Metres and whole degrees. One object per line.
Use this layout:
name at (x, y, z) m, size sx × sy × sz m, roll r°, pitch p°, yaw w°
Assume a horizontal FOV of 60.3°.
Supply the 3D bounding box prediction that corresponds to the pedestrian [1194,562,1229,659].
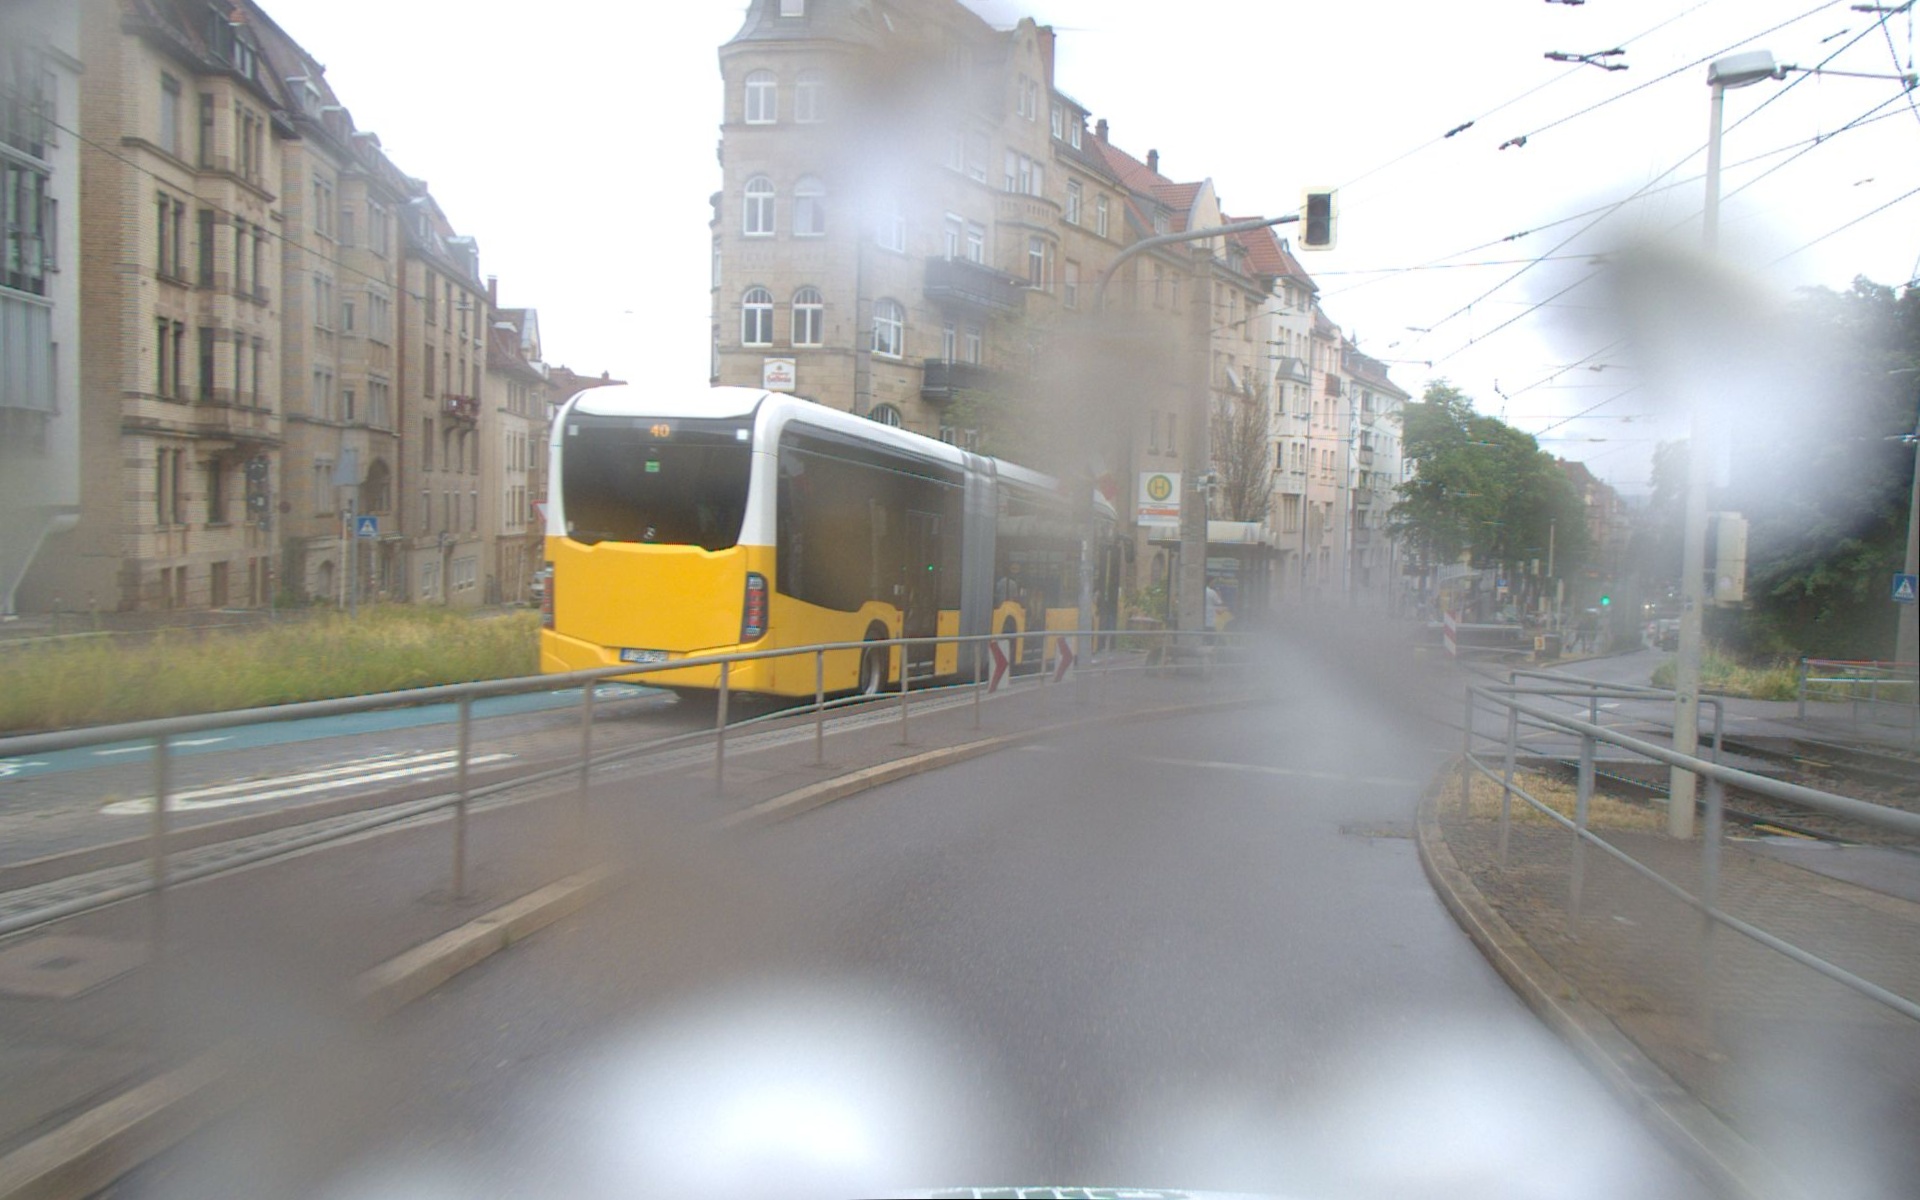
pedestrian at (4.721, 0.192, 31.043) m, size 0.564 × 1.783 × 0.544 m, roll 1°, pitch -1°, yaw 14°

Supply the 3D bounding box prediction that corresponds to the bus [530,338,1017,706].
bus at (-1.732, -0.734, 20.592) m, size 2.536 × 3.530 × 9.112 m, roll 1°, pitch 0°, yaw 17°

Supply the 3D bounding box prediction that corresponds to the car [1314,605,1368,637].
car at (22.347, 1.237, 96.830) m, size 1.955 × 1.762 × 4.807 m, roll 1°, pitch -1°, yaw 27°

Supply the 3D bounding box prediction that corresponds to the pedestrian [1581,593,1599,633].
pedestrian at (28.435, 0.585, 74.630) m, size 0.638 × 1.815 × 0.847 m, roll 2°, pitch 0°, yaw 25°

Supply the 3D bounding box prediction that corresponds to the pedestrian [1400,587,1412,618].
pedestrian at (23.704, 0.124, 87.853) m, size 0.506 × 1.633 × 0.562 m, roll 0°, pitch -1°, yaw 25°

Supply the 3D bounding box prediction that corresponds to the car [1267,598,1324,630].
car at (18.048, 0.737, 88.836) m, size 1.885 × 1.651 × 4.530 m, roll 1°, pitch 0°, yaw 26°

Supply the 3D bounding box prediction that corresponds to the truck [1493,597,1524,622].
truck at (56.112, 1.006, 169.150) m, size 2.012 × 2.435 × 6.312 m, roll 2°, pitch 0°, yaw 28°

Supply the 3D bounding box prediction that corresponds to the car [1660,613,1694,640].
car at (43.355, 1.601, 99.989) m, size 1.814 × 1.499 × 3.998 m, roll 2°, pitch 1°, yaw 23°

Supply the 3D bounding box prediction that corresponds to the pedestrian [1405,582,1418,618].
pedestrian at (23.784, -0.009, 87.179) m, size 0.550 × 1.882 × 0.598 m, roll 0°, pitch -1°, yaw 25°

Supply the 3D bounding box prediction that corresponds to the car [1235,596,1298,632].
car at (15.575, 0.746, 83.782) m, size 1.955 × 1.559 × 4.528 m, roll 4°, pitch 0°, yaw 25°

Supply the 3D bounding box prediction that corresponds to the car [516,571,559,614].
car at (-22.874, -0.386, 89.617) m, size 2.101 × 2.174 × 4.839 m, roll 2°, pitch -1°, yaw -14°

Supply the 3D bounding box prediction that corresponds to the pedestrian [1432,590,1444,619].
pedestrian at (28.118, 0.243, 97.235) m, size 0.582 × 1.695 × 0.761 m, roll 0°, pitch -1°, yaw 25°

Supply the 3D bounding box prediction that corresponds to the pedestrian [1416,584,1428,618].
pedestrian at (25.616, 0.045, 91.703) m, size 0.506 × 1.870 × 0.761 m, roll 0°, pitch -1°, yaw 25°
